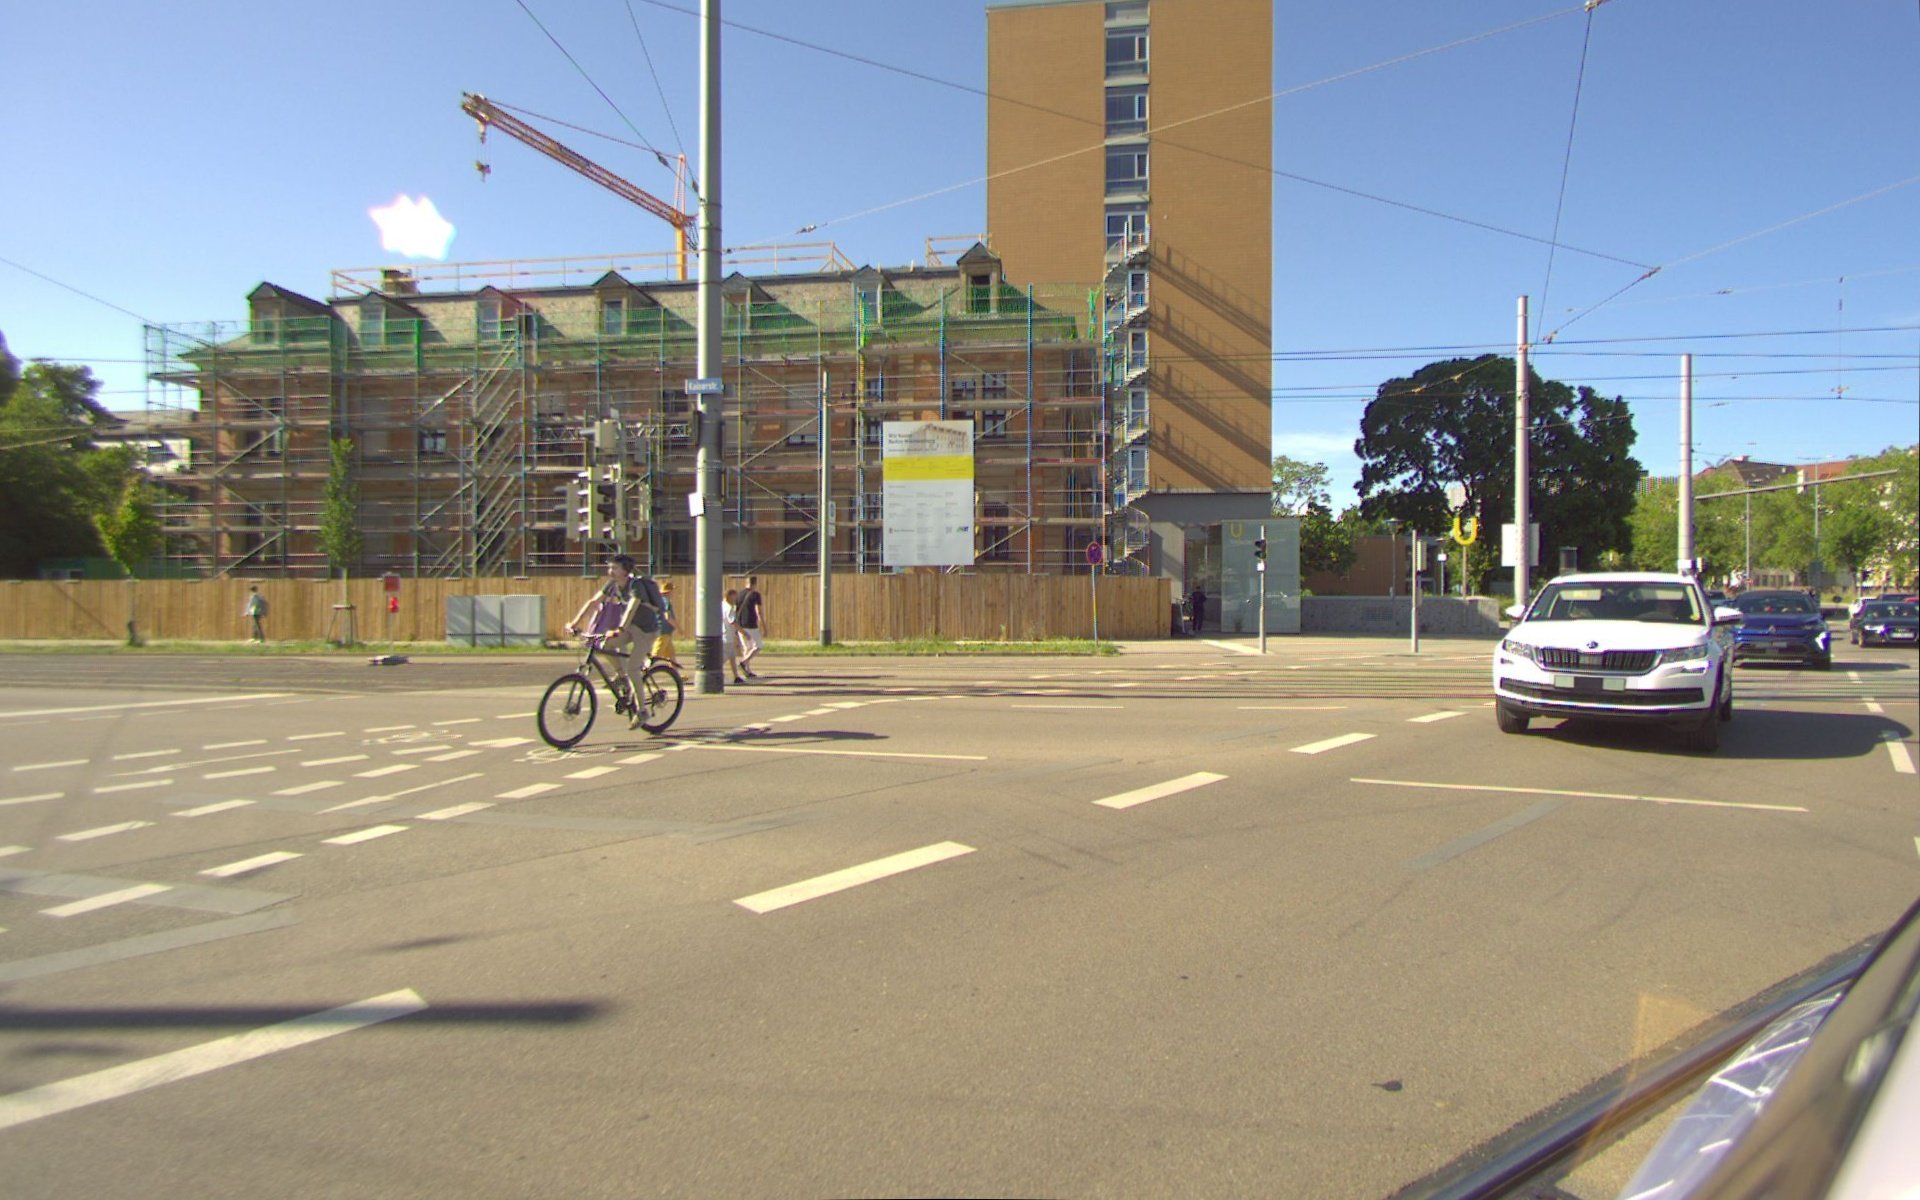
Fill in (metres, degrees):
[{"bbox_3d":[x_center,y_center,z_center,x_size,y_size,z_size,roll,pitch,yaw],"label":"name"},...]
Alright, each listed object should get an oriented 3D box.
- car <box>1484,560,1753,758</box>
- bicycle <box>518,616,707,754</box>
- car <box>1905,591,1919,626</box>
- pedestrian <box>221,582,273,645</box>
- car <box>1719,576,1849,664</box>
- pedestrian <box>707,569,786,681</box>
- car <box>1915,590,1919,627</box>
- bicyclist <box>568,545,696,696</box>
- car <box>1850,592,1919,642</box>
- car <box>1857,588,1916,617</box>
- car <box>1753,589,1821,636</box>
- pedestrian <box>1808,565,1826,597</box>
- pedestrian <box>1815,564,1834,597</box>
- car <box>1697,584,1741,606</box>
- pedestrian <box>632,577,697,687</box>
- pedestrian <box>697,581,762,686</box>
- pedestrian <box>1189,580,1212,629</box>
[{"bbox_3d":[7.157,0.448,10.788,1.862,1.665,4.333,1,2,40],"label":"car"},{"bbox_3d":[-3.391,0.783,10.059,0.529,1.173,1.845,-2,0,31],"label":"bicycle"},{"bbox_3d":[43.518,0.332,45.015,1.705,1.477,3.958,-2,-1,38],"label":"car"},{"bbox_3d":[-23.498,0.446,33.367,1.069,2.039,0.863,-2,-1,5],"label":"pedestrian"},{"bbox_3d":[17.104,0.369,21.105,1.877,1.651,3.957,-2,-1,38],"label":"car"},{"bbox_3d":[-3.863,0.432,18.317,1.030,1.954,0.932,-1,-1,-41],"label":"pedestrian"},{"bbox_3d":[39.022,0.344,39.704,1.877,1.477,3.957,-2,-1,38],"label":"car"},{"bbox_3d":[-3.304,0.203,10.245,0.670,1.439,1.025,-2,-1,31],"label":"bicyclist"},{"bbox_3d":[30.258,0.513,32.609,1.909,1.477,3.817,-2,-1,35],"label":"car"},{"bbox_3d":[51.098,0.113,55.895,1.748,1.474,4.072,-2,-1,34],"label":"car"},{"bbox_3d":[31.405,0.444,38.514,1.877,1.651,3.957,-2,-1,38],"label":"car"},{"bbox_3d":[65.780,-1.451,77.689,0.869,2.466,0.879,-2,-1,33],"label":"pedestrian"},{"bbox_3d":[65.485,-1.460,76.634,0.869,2.451,0.879,-2,-1,33],"label":"pedestrian"},{"bbox_3d":[52.704,-0.354,70.333,1.906,1.477,4.617,-2,-1,31],"label":"car"},{"bbox_3d":[-4.962,0.524,16.977,0.809,1.780,0.660,-1,-1,-41],"label":"pedestrian"},{"bbox_3d":[-3.870,0.552,16.990,0.809,1.698,0.660,-1,-1,-41],"label":"pedestrian"},{"bbox_3d":[9.209,0.173,38.724,0.766,1.810,0.828,-2,-1,14],"label":"pedestrian"}]
